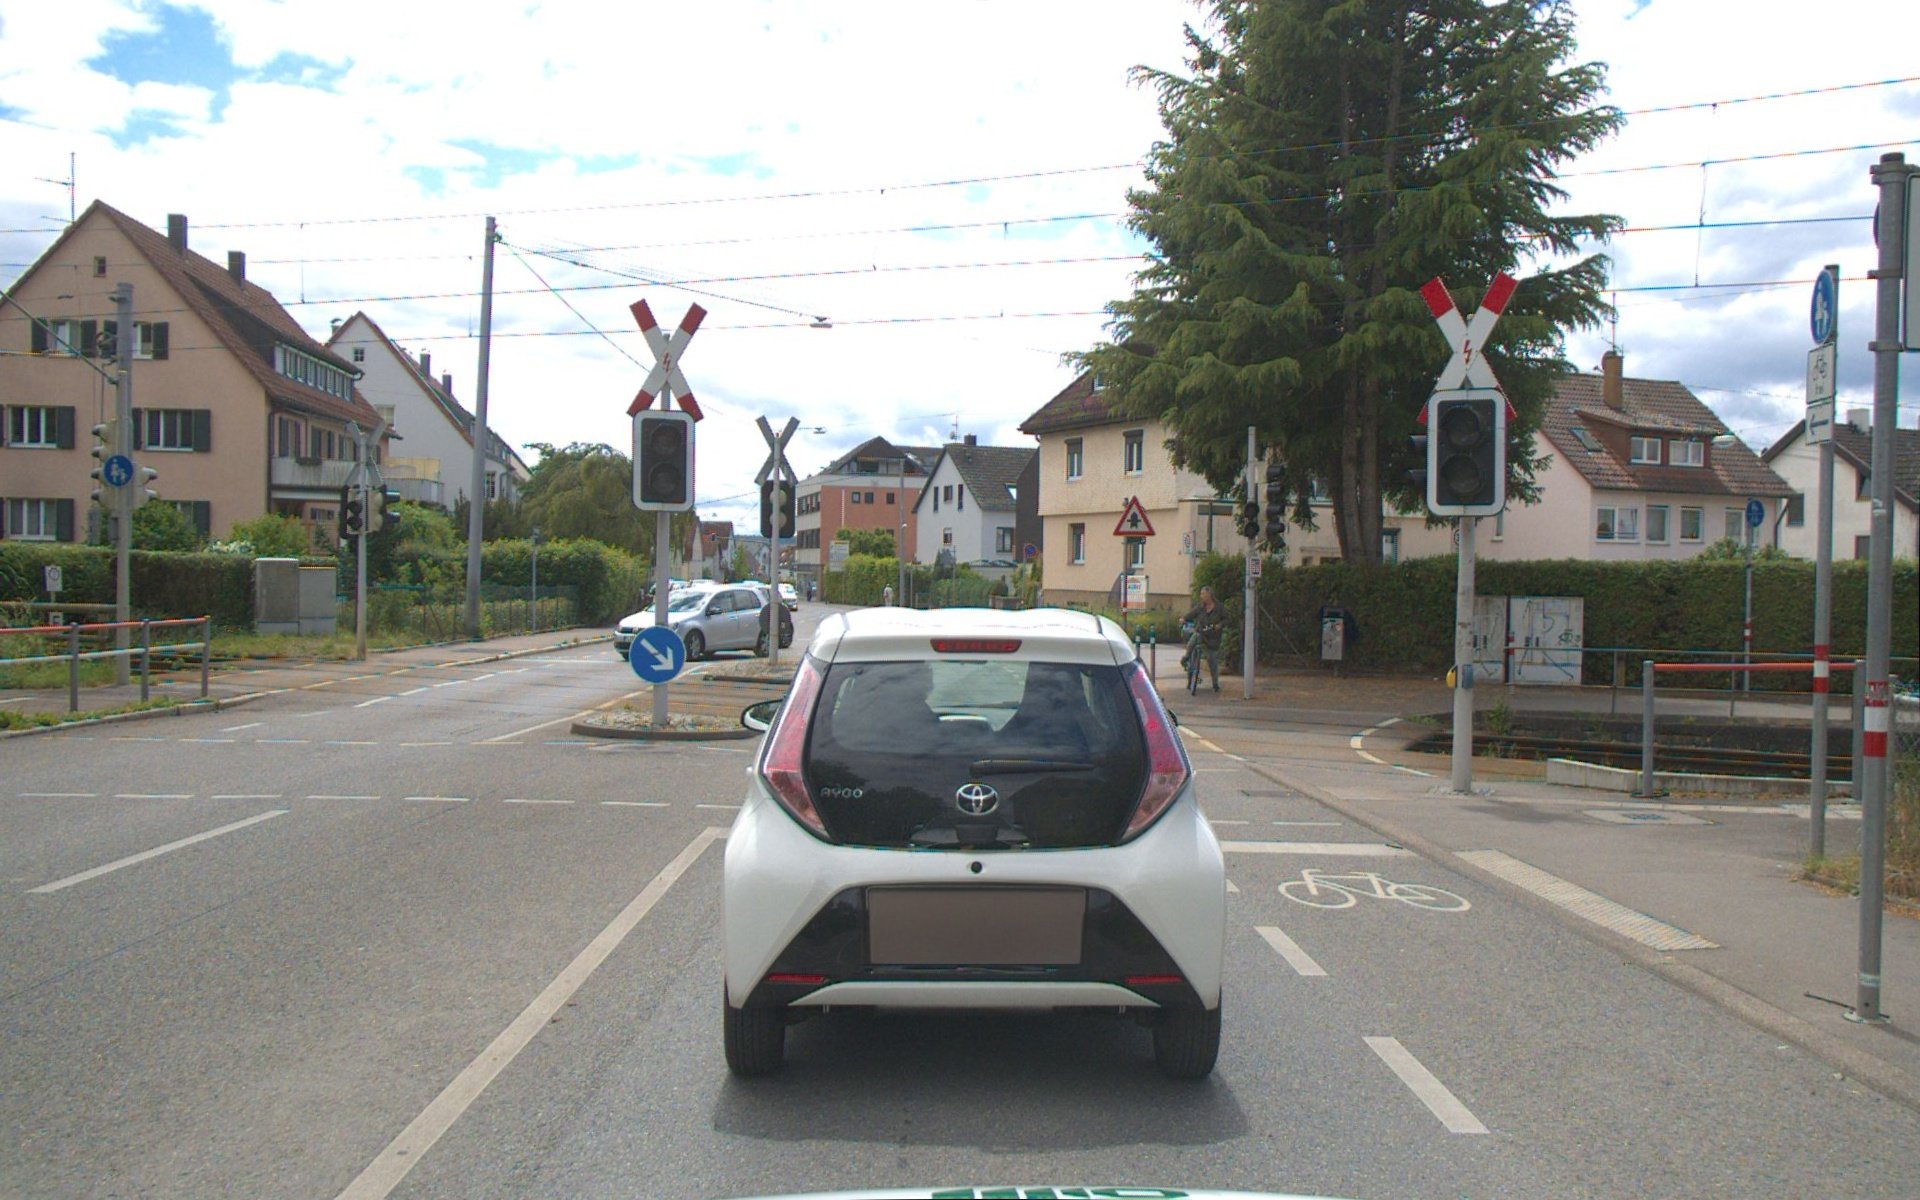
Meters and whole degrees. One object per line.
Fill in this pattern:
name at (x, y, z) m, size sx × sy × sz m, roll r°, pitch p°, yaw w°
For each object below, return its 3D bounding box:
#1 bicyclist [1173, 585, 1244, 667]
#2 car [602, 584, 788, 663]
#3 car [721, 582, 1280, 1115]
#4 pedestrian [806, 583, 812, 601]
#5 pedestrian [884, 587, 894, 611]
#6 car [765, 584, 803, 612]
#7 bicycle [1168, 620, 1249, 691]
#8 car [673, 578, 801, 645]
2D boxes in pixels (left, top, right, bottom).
bicyclist at (3.954, 0.408, 26.304) m, size 0.912 × 1.269 × 1.102 m, roll 0°, pitch 0°, yaw 21°
car at (-5.434, 0.445, 34.352) m, size 1.656 × 1.483 × 4.063 m, roll 2°, pitch 1°, yaw 29°
car at (0.091, 0.723, 6.736) m, size 1.588 × 1.512 × 3.999 m, roll 1°, pitch 0°, yaw -1°
pedestrian at (-12.647, -0.653, 138.693) m, size 0.406 × 1.463 × 0.436 m, roll 1°, pitch 0°, yaw -11°
pedestrian at (-4.386, -0.088, 102.451) m, size 0.433 × 1.463 × 0.409 m, roll 1°, pitch 1°, yaw -36°
car at (-10.240, -0.146, 95.923) m, size 1.744 × 1.589 × 4.156 m, roll 1°, pitch 1°, yaw -12°
bicycle at (3.987, 0.864, 26.395) m, size 0.912 × 1.058 × 1.915 m, roll 0°, pitch 0°, yaw 20°
car at (-5.439, 0.294, 40.509) m, size 1.551 × 1.536 × 2.772 m, roll 1°, pitch 0°, yaw 41°
